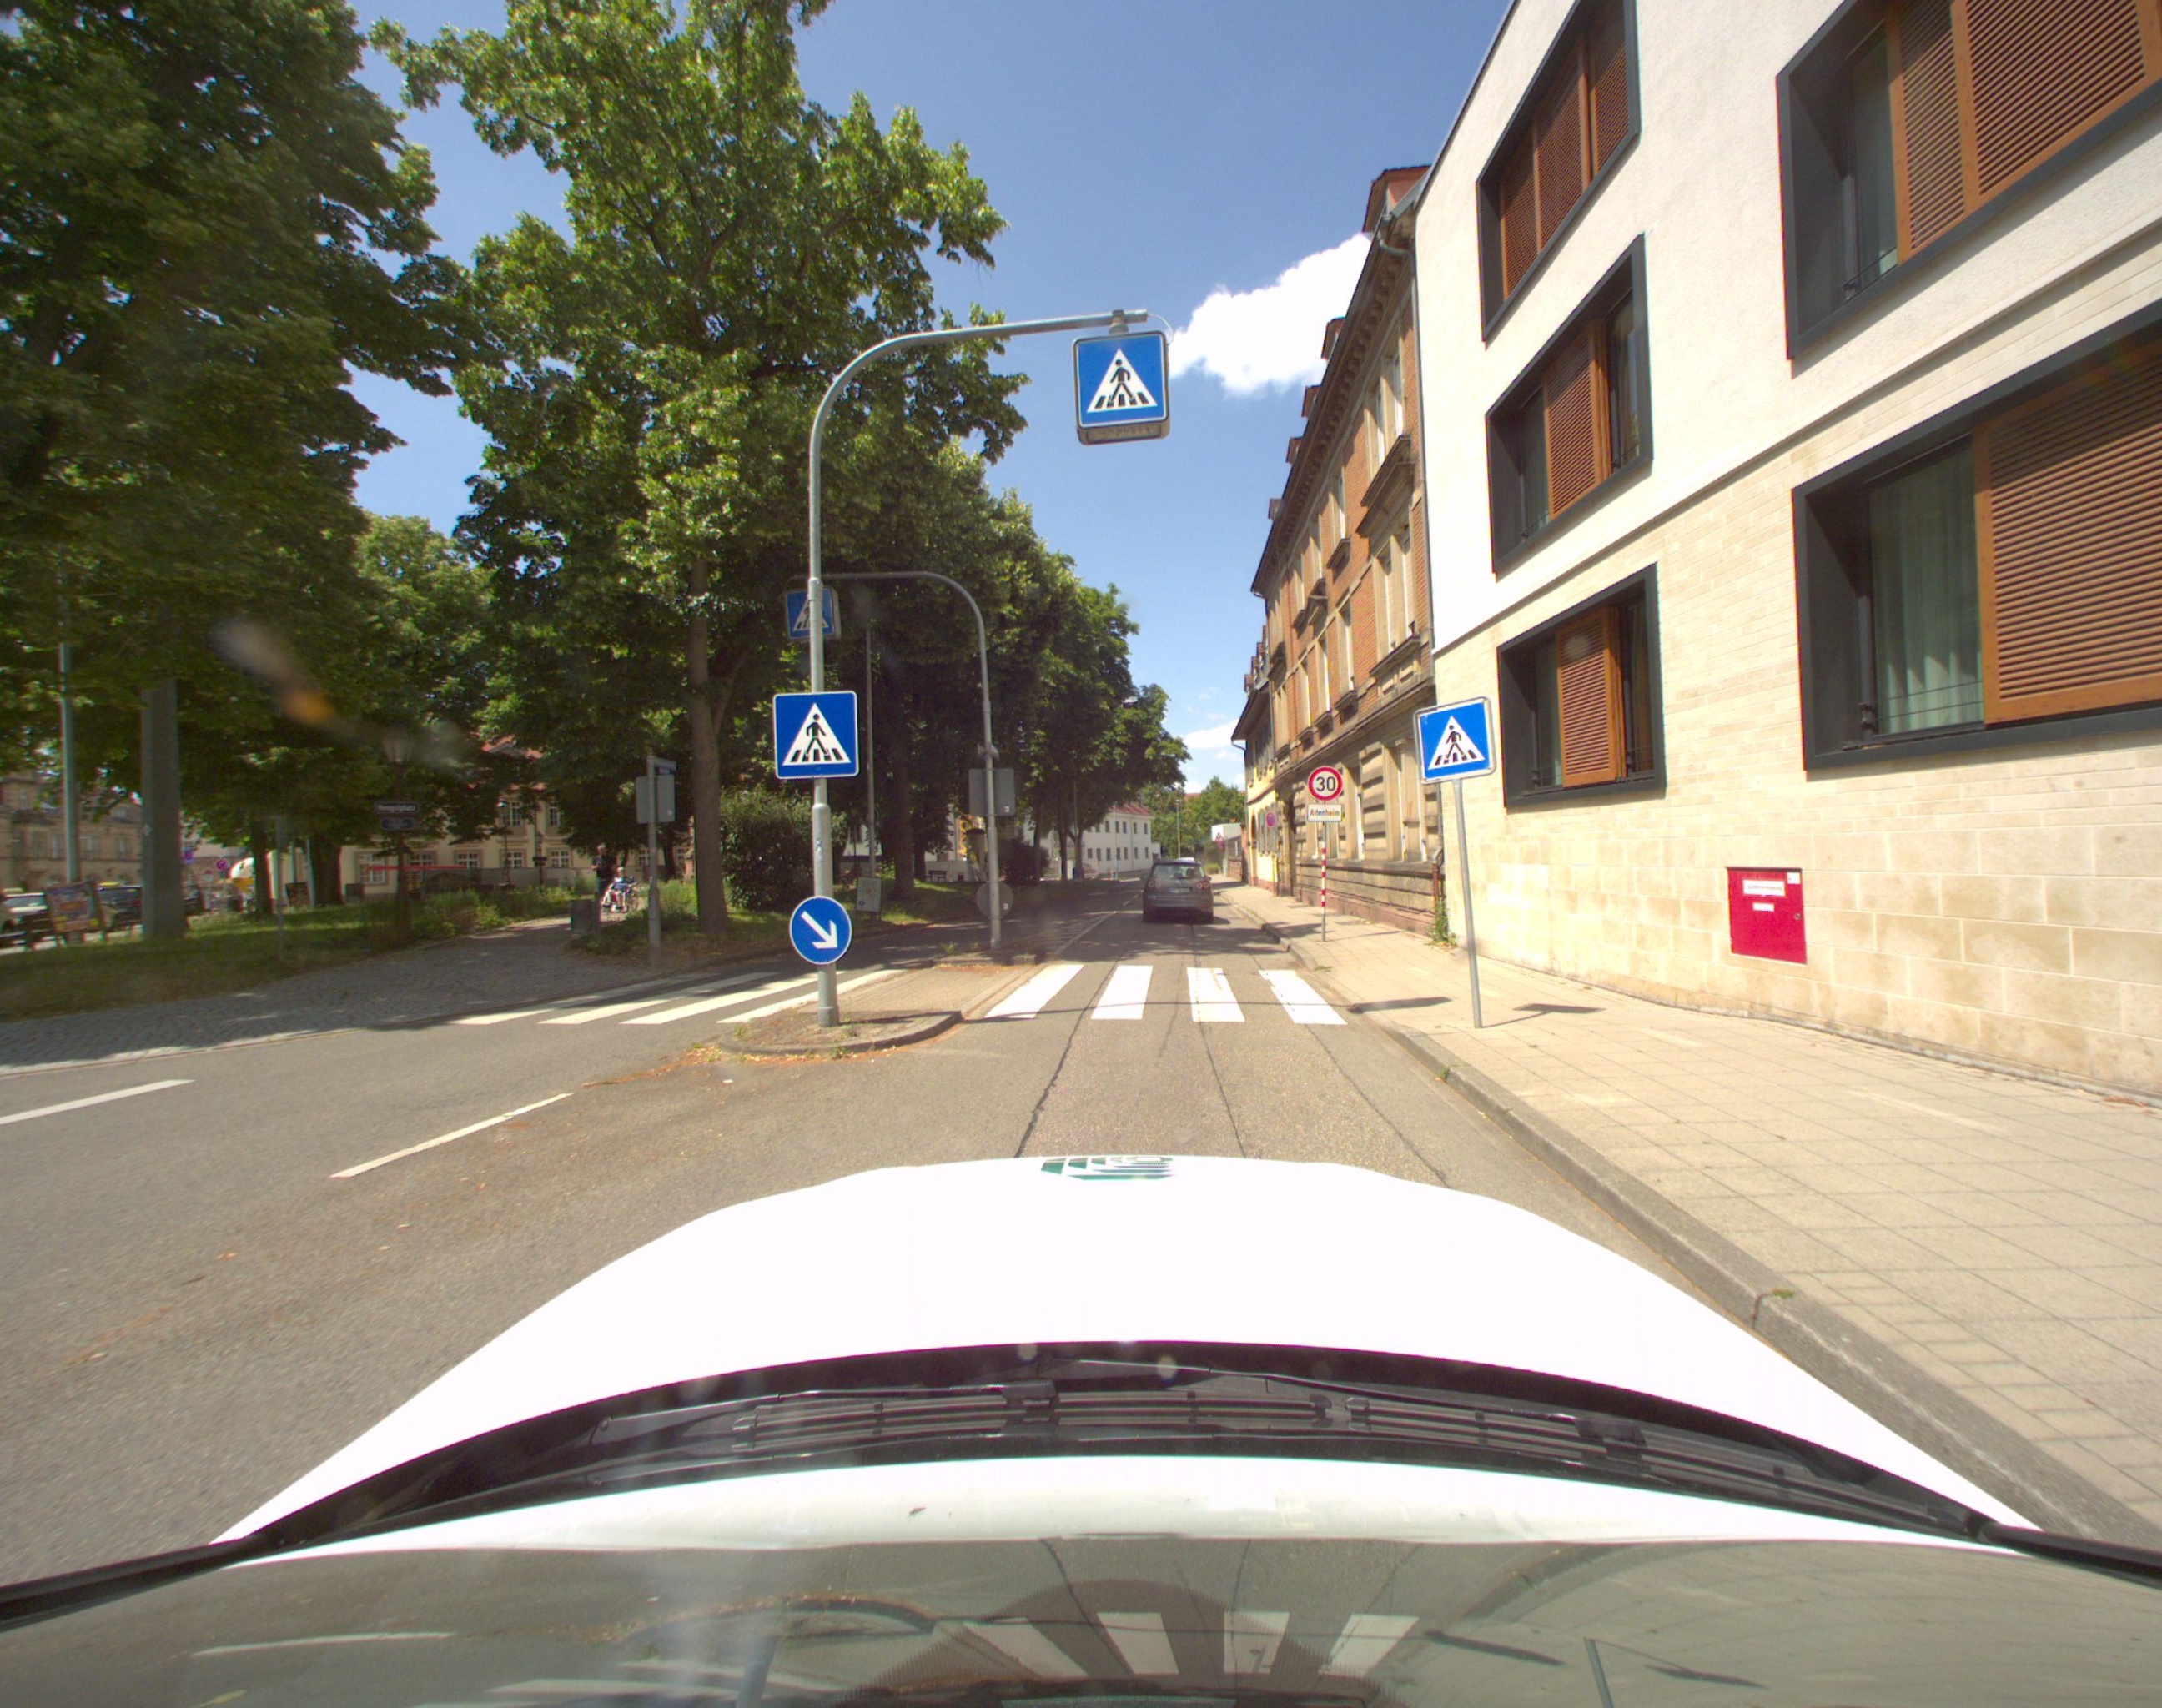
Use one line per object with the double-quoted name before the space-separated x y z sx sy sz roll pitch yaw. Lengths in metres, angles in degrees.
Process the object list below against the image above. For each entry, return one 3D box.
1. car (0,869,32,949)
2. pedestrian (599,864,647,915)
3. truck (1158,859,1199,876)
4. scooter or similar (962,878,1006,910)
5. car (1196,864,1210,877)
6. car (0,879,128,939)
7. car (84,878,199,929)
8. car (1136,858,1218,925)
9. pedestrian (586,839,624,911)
"car" -27.359 1.366 18.944 2.064 2.002 5.193 -1 -1 -34
"pedestrian" -12.139 0.921 21.609 0.909 1.252 1.140 -1 1 -20
"truck" 11.960 1.686 100.378 4.778 2.014 2.145 -1 -1 -1
"scooter or similar" -3.577 1.461 30.190 1.266 0.991 1.453 7 0 4
"car" 15.665 2.067 104.655 1.638 1.574 3.646 -1 -1 7
"car" -31.458 1.622 24.932 1.796 1.624 4.438 -1 -1 -34
"car" -35.320 1.792 30.765 1.796 1.693 4.155 -1 -1 -34
"car" 2.524 0.909 21.404 1.893 1.534 4.251 1 0 7
"pedestrian" -12.963 0.564 22.204 0.750 1.910 0.679 -1 1 -20
